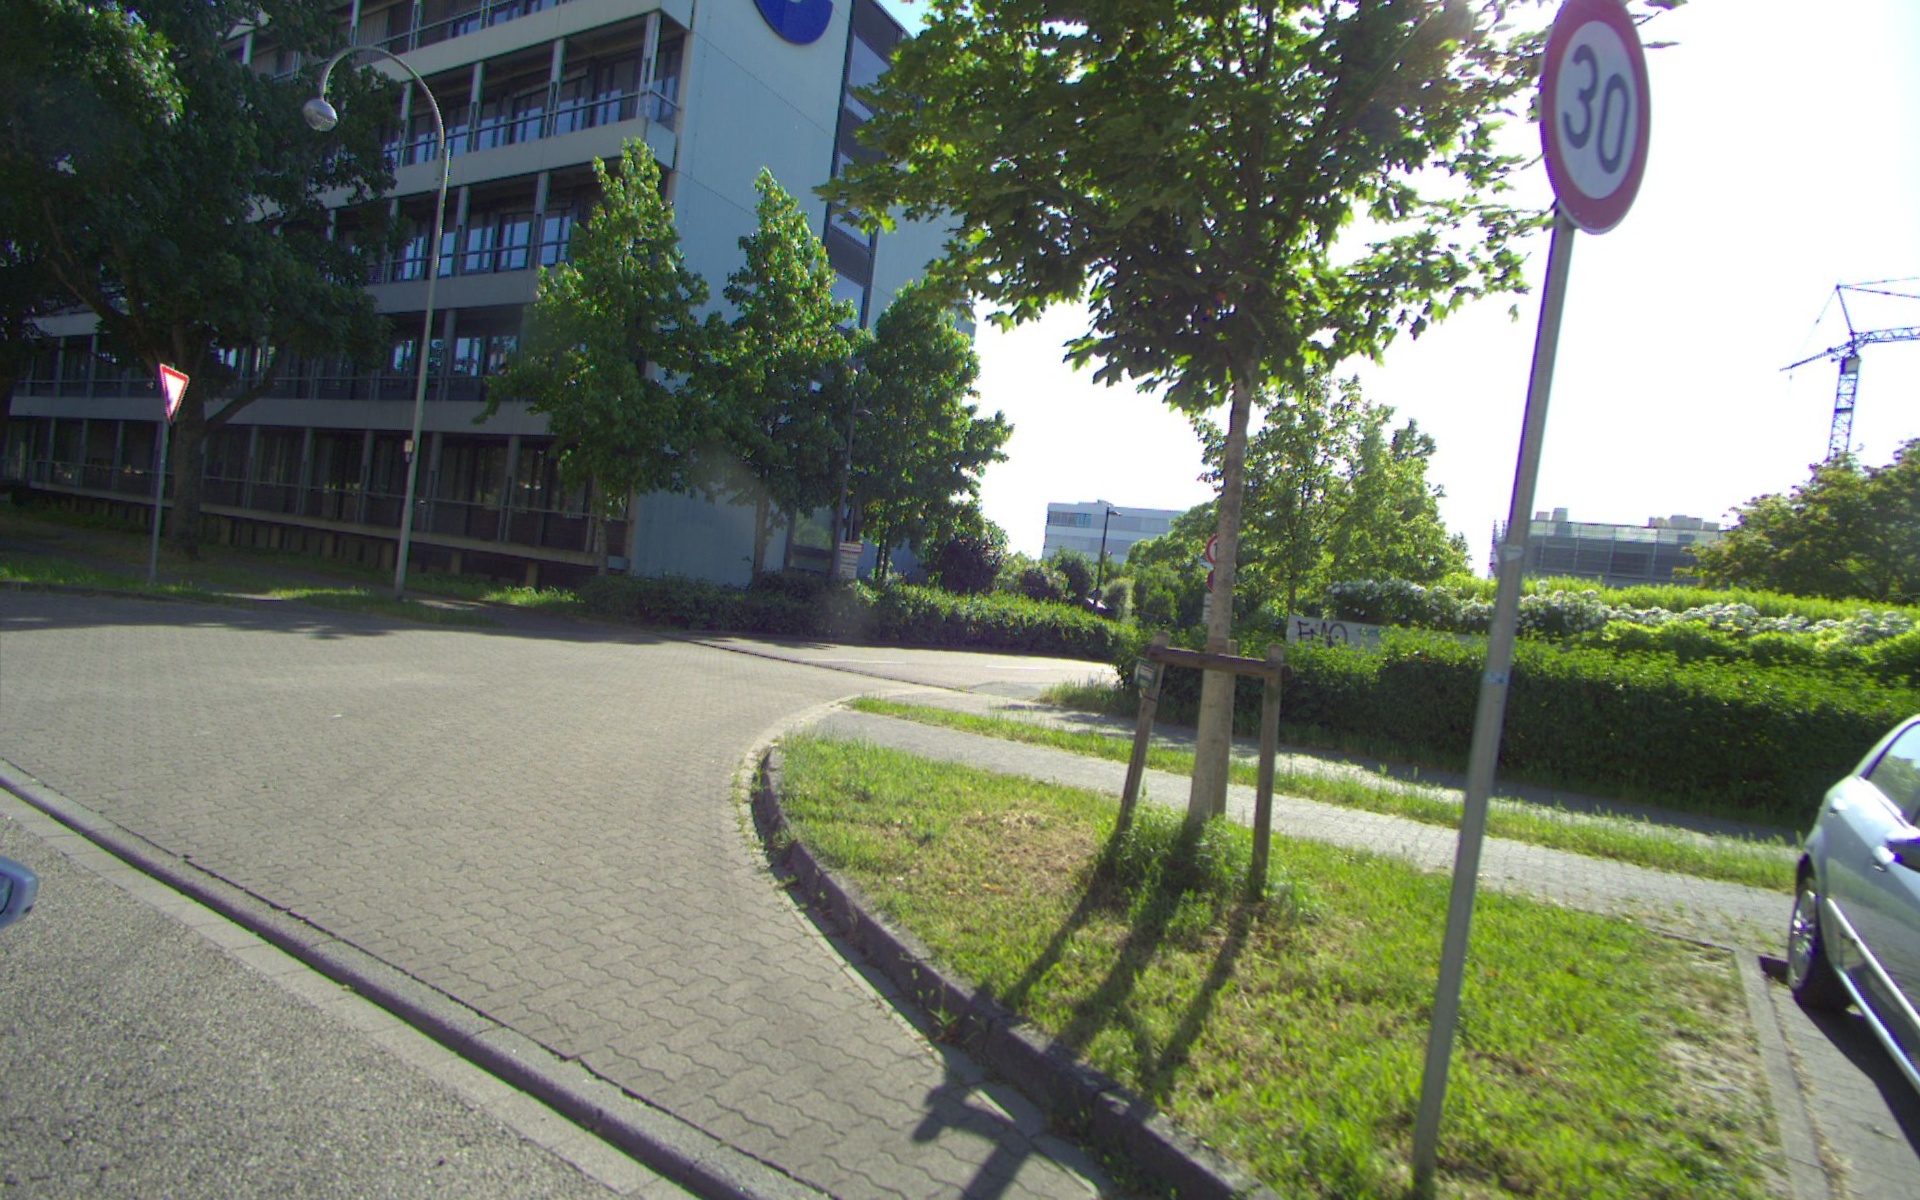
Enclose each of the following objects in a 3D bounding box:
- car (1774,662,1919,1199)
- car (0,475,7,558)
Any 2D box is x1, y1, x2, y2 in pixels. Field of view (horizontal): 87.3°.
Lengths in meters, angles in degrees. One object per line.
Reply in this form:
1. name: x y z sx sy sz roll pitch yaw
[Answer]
1. car: 3.899 1.089 3.009 1.674 1.535 3.948 6 2 32
2. car: -19.343 -1.704 16.847 1.718 1.494 4.580 7 1 32
